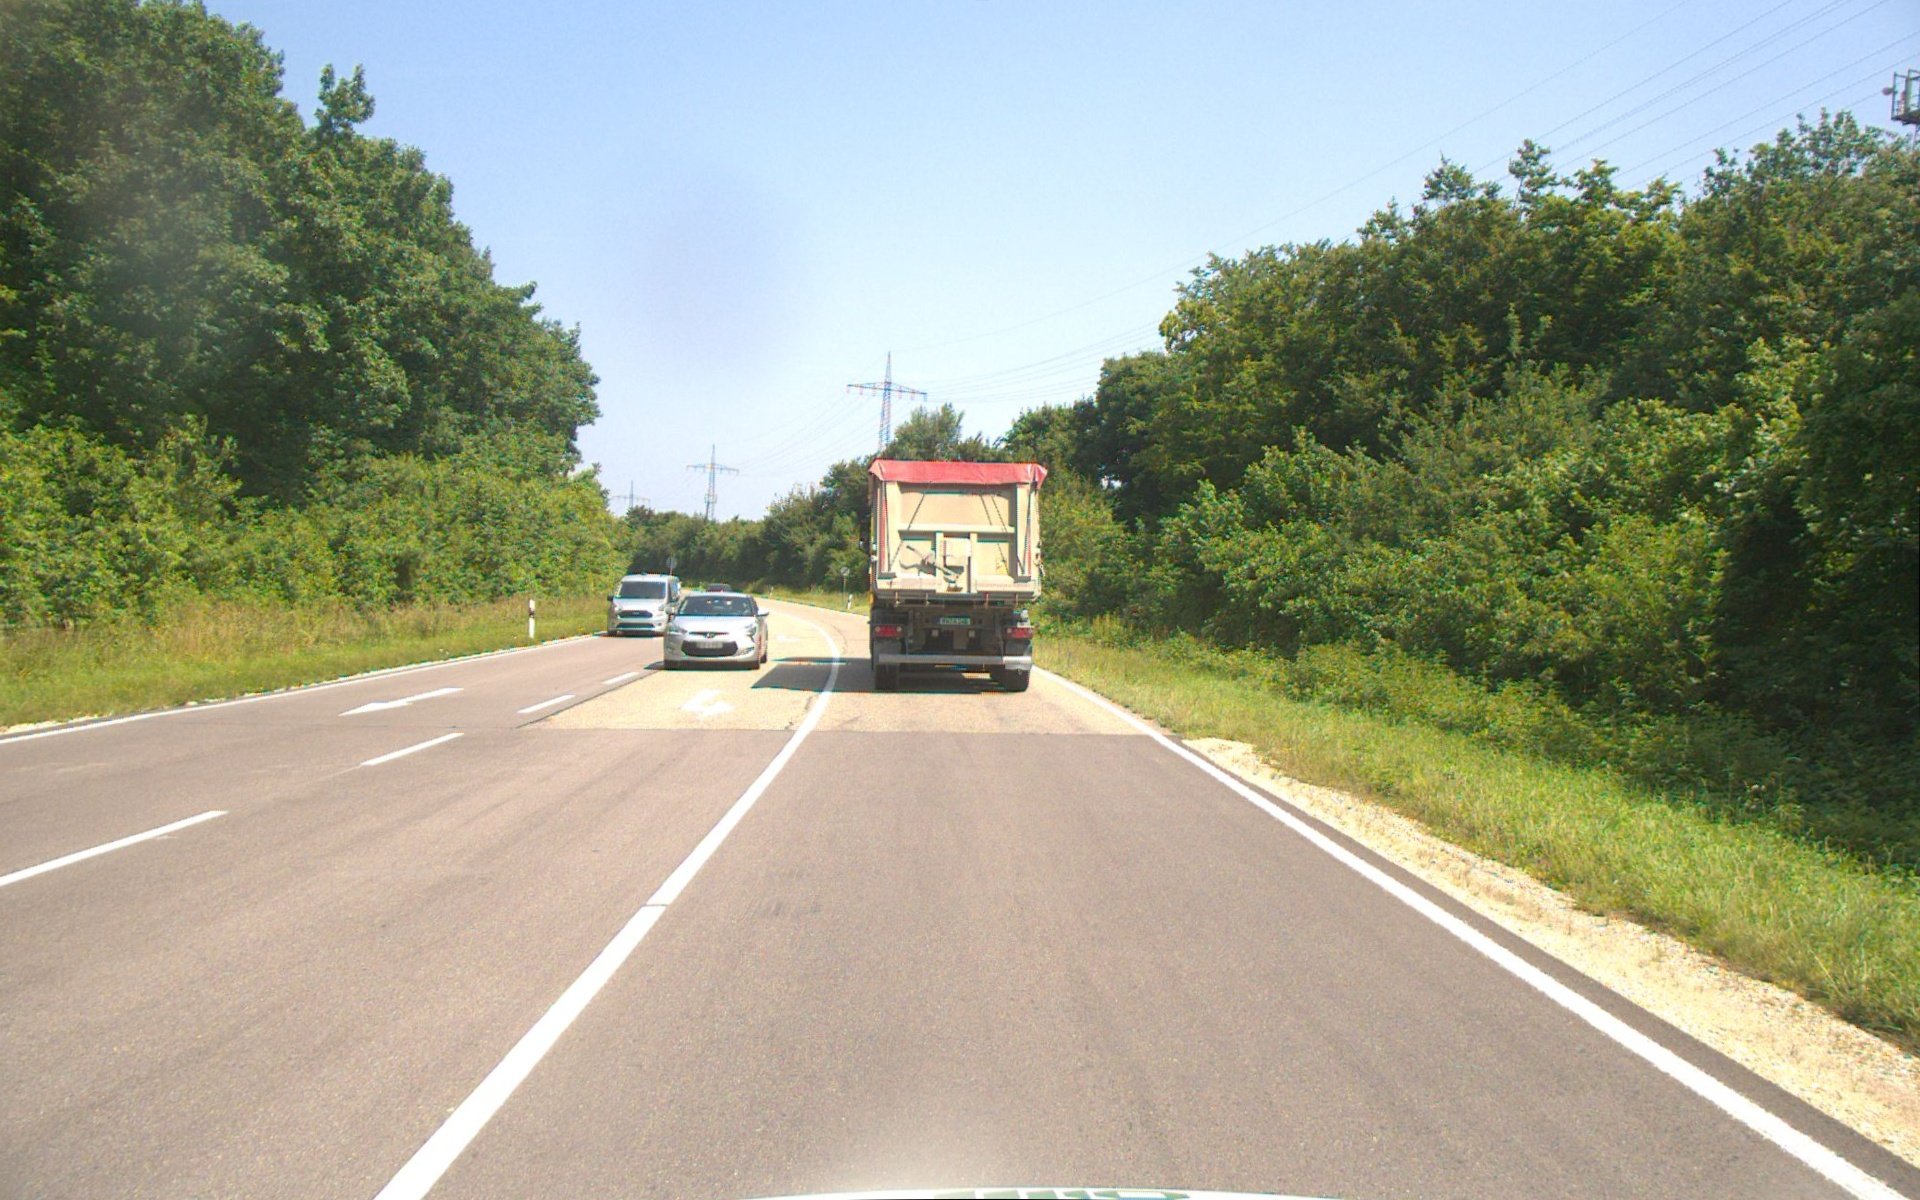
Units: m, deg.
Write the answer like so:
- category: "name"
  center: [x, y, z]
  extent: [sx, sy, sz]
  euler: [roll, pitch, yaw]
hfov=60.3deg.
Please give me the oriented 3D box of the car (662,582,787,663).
- category: "car"
  center: [-4.454, 0.425, 31.794]
  extent: [1.673, 1.444, 4.099]
  euler: [1, -1, 2]

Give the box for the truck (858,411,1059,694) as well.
- category: "truck"
  center: [-0.265, -0.757, 29.848]
  extent: [2.835, 4.031, 11.927]
  euler: [1, 1, -2]

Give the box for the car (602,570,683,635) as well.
- category: "car"
  center: [-9.451, 0.038, 49.561]
  extent: [1.806, 1.810, 4.890]
  euler: [1, 1, -4]
